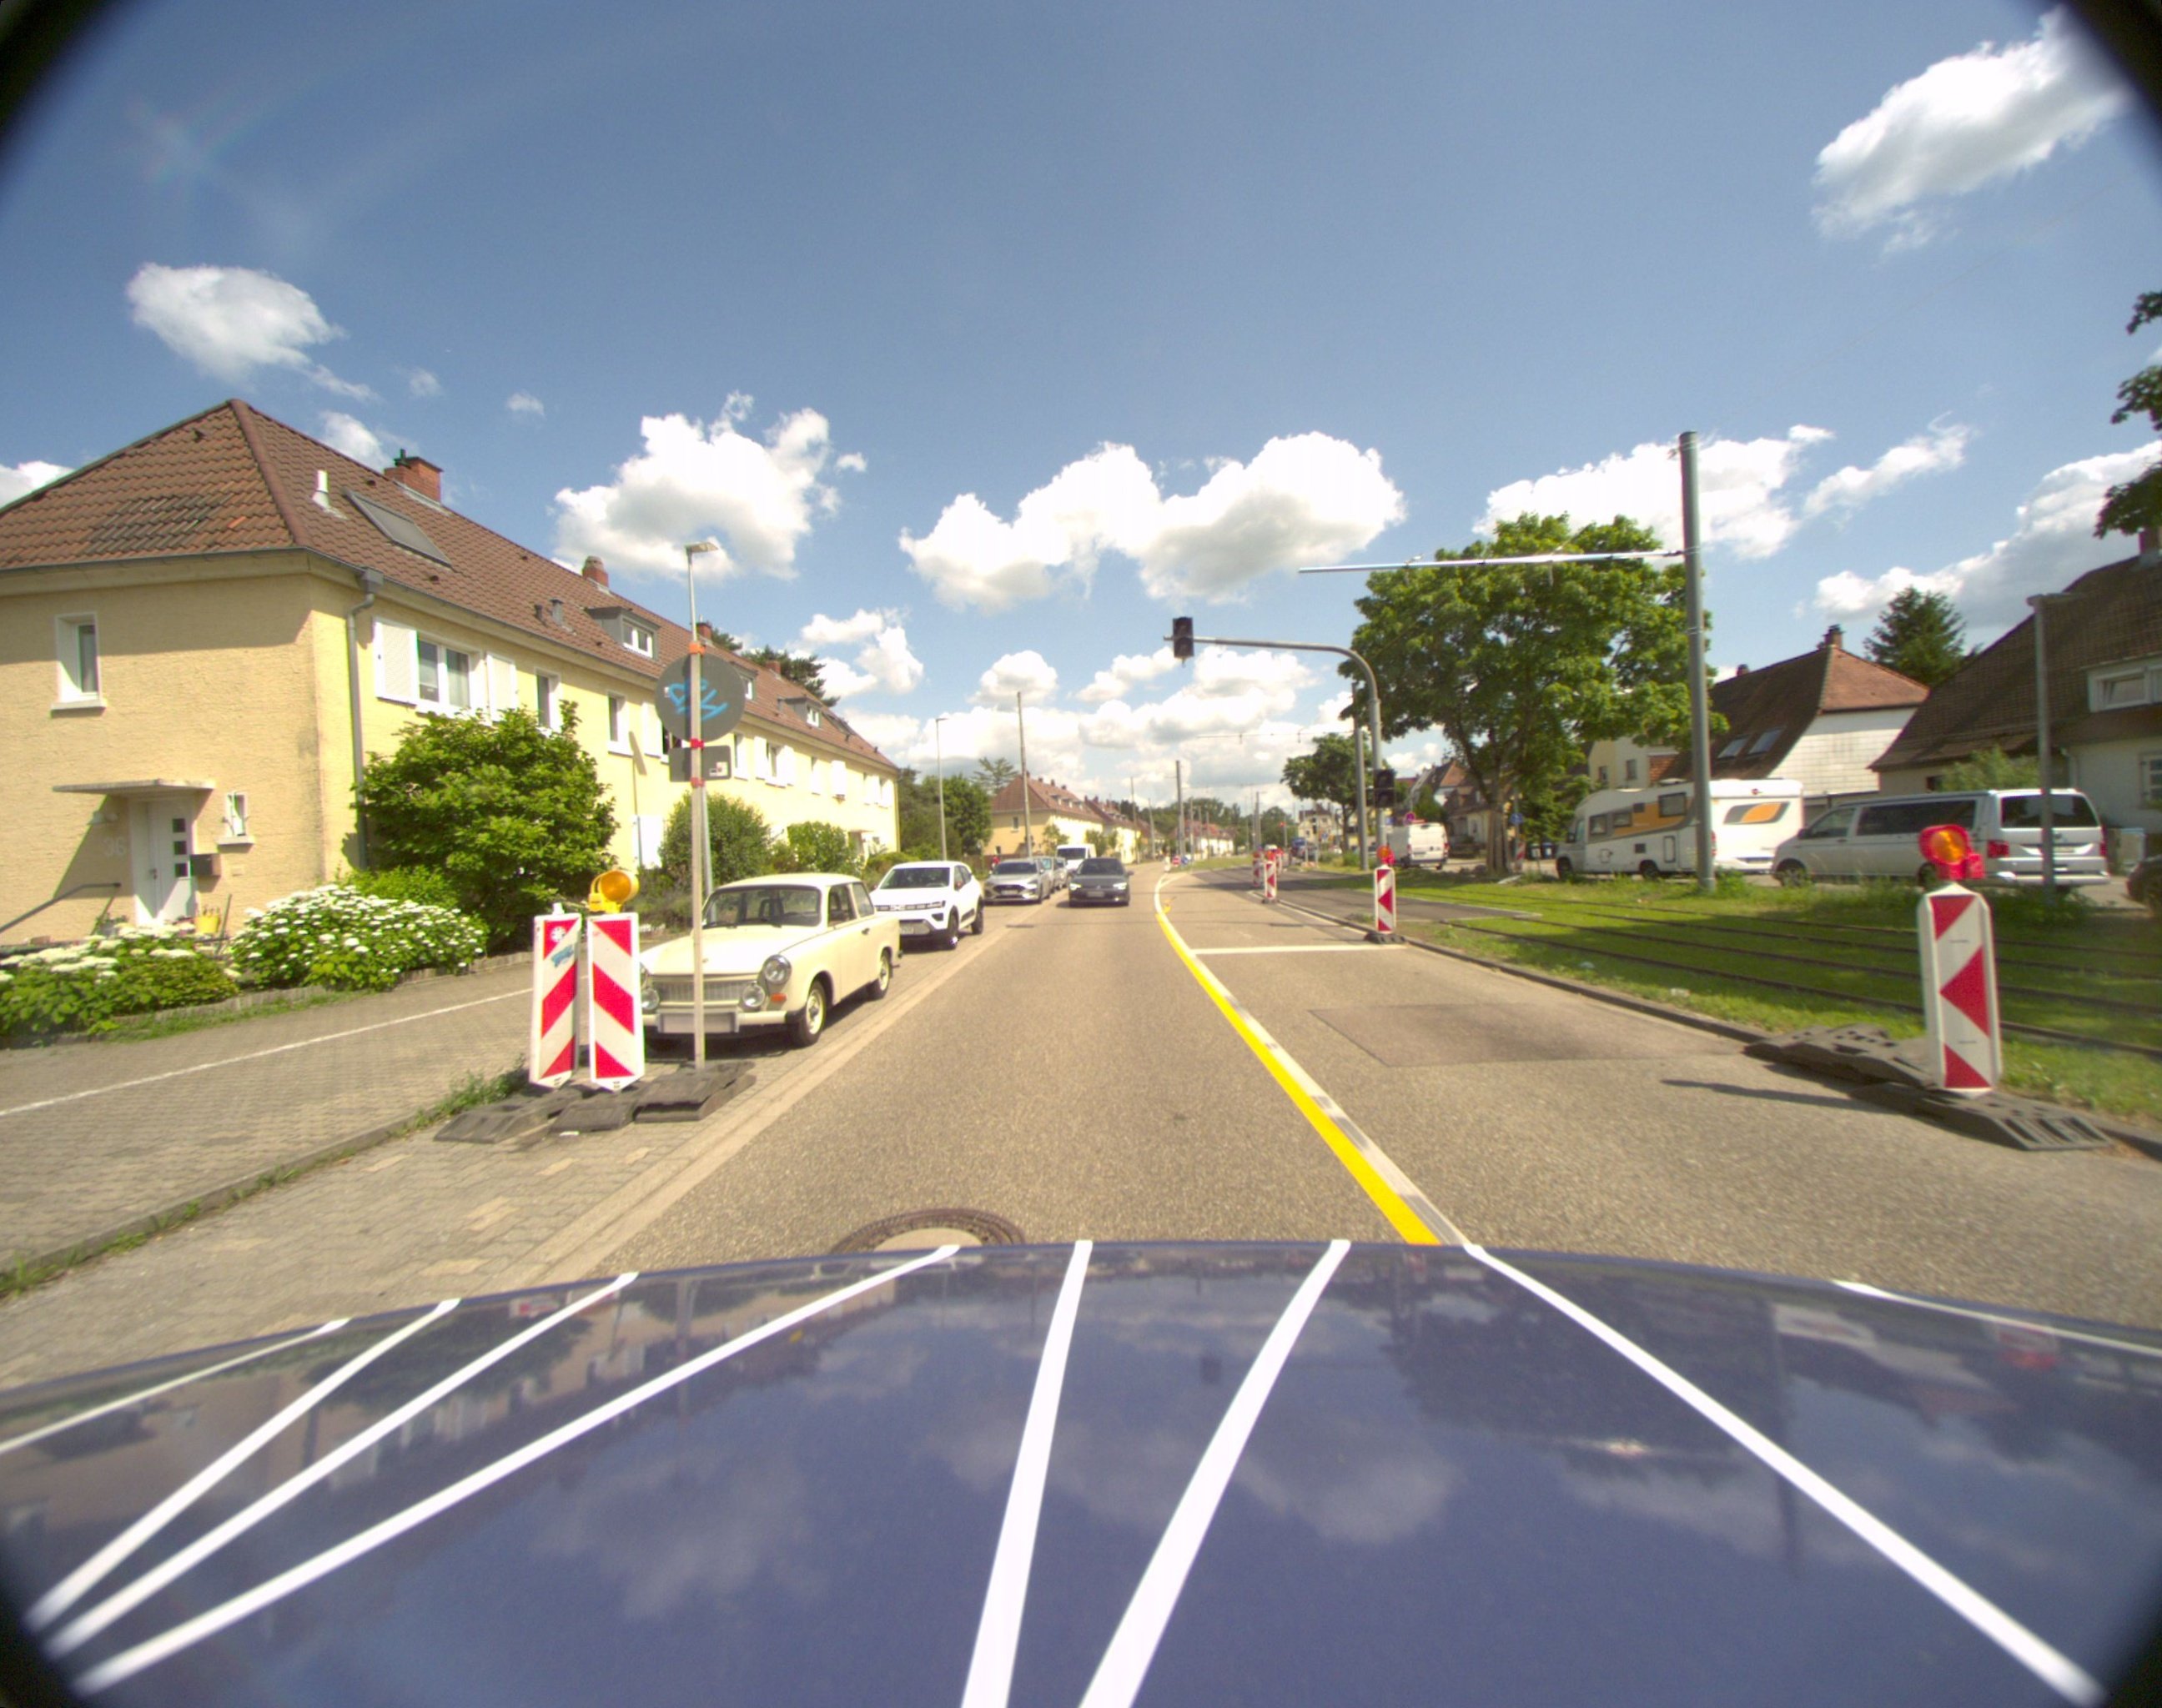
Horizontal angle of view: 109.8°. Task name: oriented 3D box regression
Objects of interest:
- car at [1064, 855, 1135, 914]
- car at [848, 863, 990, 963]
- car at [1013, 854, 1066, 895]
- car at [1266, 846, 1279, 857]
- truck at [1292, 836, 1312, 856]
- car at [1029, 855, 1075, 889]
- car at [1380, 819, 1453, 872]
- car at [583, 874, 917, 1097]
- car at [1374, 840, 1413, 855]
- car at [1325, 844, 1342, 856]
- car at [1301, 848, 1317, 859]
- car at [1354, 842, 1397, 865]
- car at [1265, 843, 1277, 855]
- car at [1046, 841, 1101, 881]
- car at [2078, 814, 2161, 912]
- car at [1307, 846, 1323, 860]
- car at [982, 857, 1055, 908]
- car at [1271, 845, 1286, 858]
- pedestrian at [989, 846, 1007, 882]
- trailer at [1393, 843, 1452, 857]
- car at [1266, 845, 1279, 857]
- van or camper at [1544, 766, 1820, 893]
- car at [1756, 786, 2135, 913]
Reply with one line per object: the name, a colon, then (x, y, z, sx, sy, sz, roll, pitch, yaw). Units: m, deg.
car: (0.664, 0.835, 22.953, 1.742, 1.513, 4.703, -1, 0, 6)
car: (-2.795, 0.962, 13.940, 1.531, 1.472, 3.810, -2, 0, 3)
car: (-1.688, 0.826, 31.876, 1.631, 1.541, 3.810, -2, 0, 5)
car: (29.691, -0.388, 117.727, 1.728, 1.553, 4.545, -3, 0, 12)
truck: (36.570, -1.345, 126.168, 2.840, 3.135, 7.942, -3, 0, 15)
car: (-1.318, 0.818, 36.337, 1.711, 1.495, 4.256, -2, 0, 4)
car: (18.347, -0.440, 41.871, 2.158, 2.653, 4.918, -3, 0, 6)
car: (-2.897, 1.034, 7.680, 1.467, 1.493, 4.109, -2, 0, 1)
car: (36.748, -0.806, 89.365, 3.885, 1.546, 1.683, -3, 0, 9)
car: (35.059, -0.585, 105.517, 1.728, 1.553, 4.546, -3, 0, 13)
car: (29.547, -0.092, 98.602, 1.728, 1.327, 4.546, -3, 0, 15)
car: (20.421, -0.026, 52.814, 1.695, 1.456, 4.757, -3, 0, 8)
car: (33.319, -0.836, 133.312, 1.921, 1.953, 4.545, -3, 0, 12)
car: (-0.348, 0.391, 45.680, 2.281, 2.170, 6.371, -2, 0, 8)
car: (15.979, 0.099, 9.183, 1.856, 1.379, 4.811, -3, 0, 7)
car: (28.185, -0.174, 91.639, 1.727, 1.518, 4.776, -3, 0, 18)
car: (-2.001, 0.881, 25.393, 1.753, 1.489, 4.387, -2, 0, 4)
car: (26.922, -0.359, 103.649, 1.728, 1.553, 4.546, -3, 0, 13)
pedestrian: (-4.760, 0.569, 43.759, 0.774, 2.002, 0.762, -3, 0, 5)
trailer: (33.658, -0.399, 74.944, 4.930, 1.118, 1.962, -3, 0, 8)
car: (31.291, -0.560, 124.205, 1.728, 1.843, 4.545, -3, 0, 12)
van or camper: (16.682, -0.592, 21.947, 2.381, 2.953, 7.297, -2, 0, 3)
car: (16.483, -0.074, 15.035, 1.998, 2.002, 4.905, -3, 0, 3)
